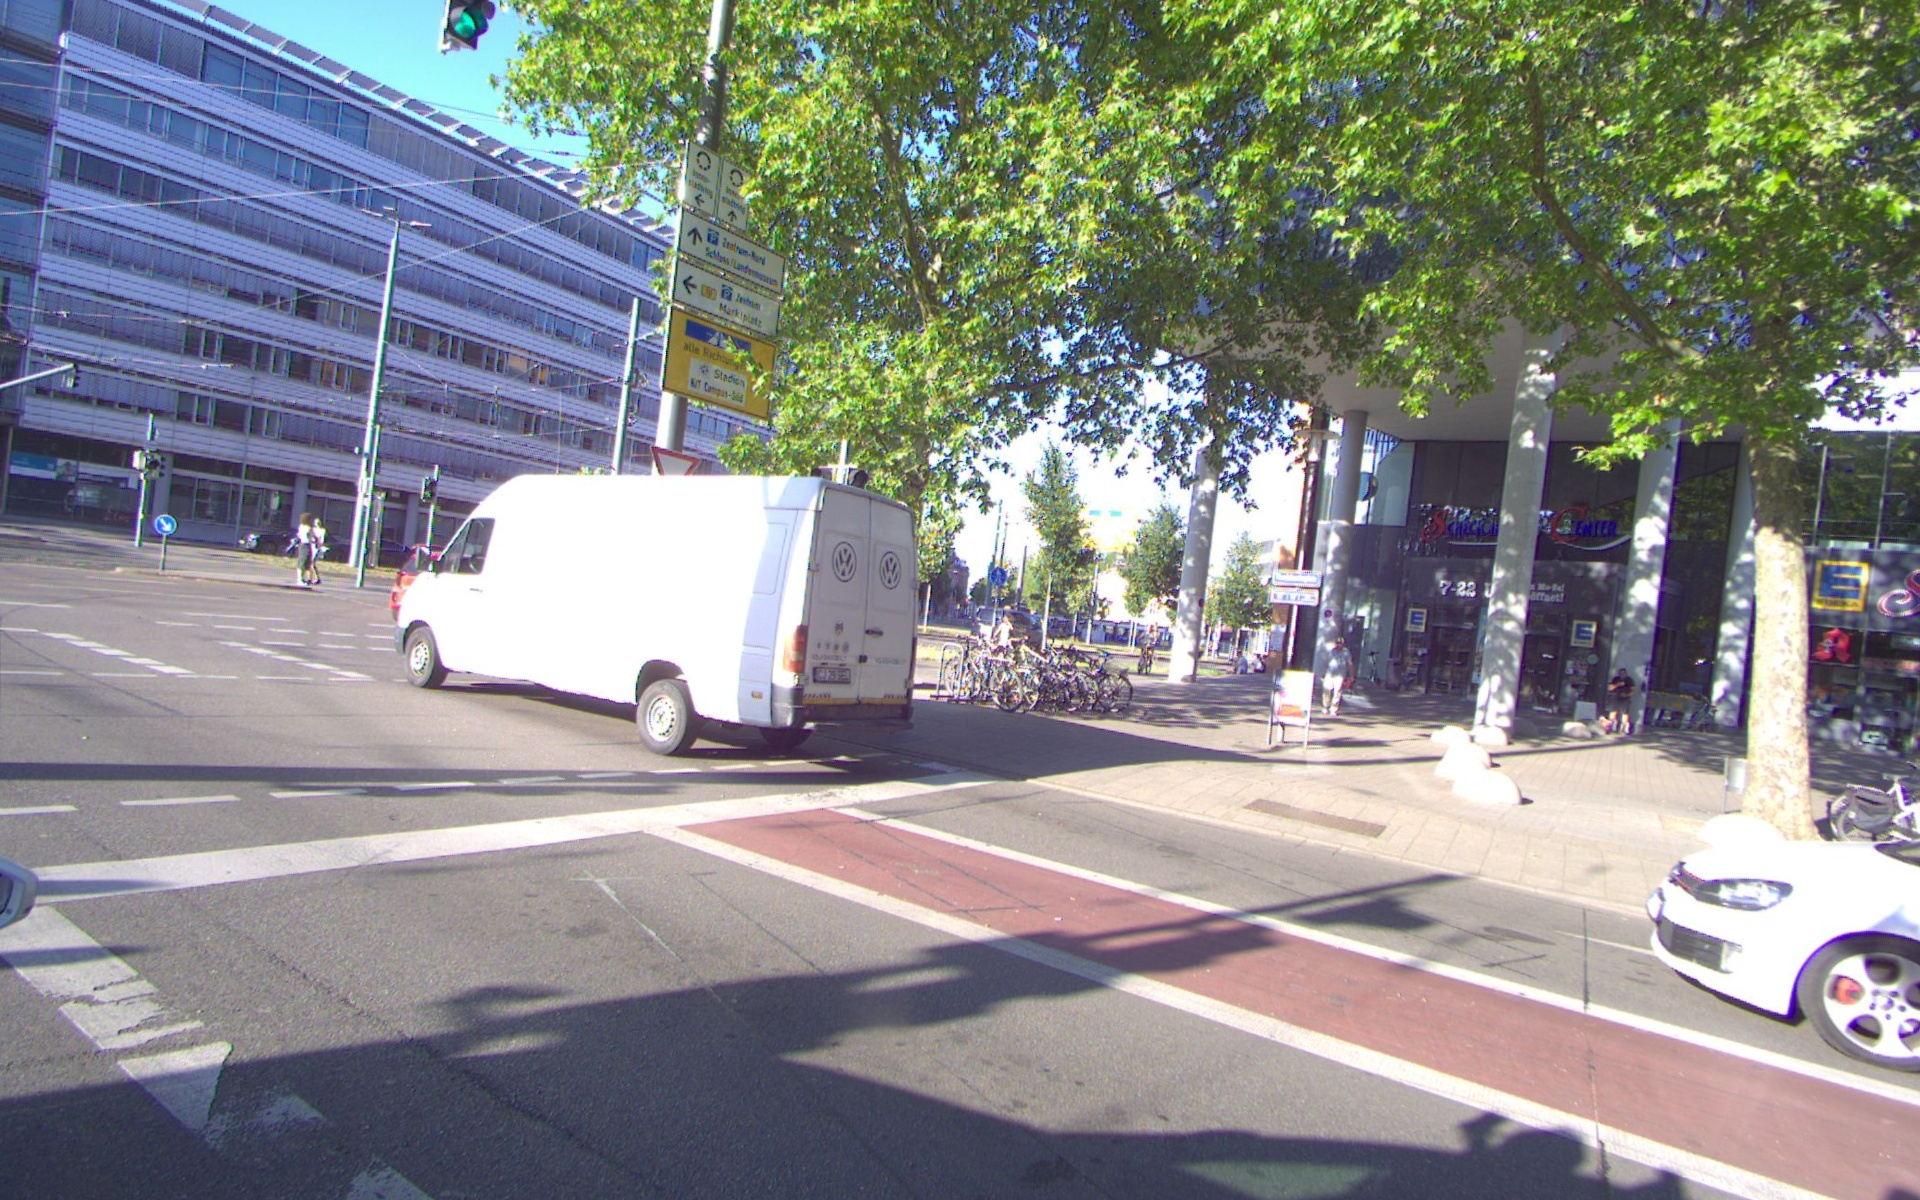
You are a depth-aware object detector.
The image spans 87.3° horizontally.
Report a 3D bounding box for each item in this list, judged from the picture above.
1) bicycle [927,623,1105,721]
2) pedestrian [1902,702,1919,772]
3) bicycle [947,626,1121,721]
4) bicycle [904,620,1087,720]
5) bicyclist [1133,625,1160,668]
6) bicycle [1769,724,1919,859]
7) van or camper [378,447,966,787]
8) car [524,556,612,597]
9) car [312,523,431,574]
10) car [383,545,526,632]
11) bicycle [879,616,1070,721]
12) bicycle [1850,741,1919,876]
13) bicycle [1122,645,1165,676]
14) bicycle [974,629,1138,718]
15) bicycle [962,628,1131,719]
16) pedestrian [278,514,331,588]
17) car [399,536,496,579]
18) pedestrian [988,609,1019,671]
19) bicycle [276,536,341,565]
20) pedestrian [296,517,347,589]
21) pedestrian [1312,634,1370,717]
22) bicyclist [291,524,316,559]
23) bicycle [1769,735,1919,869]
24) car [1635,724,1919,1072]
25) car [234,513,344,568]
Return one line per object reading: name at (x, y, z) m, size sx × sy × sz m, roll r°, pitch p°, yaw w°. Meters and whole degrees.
bicycle at (0.901, 1.188, 16.964) m, size 2.897 × 1.252 × 0.705 m, roll 6°, pitch -1°, yaw 32°
pedestrian at (24.841, 3.545, 25.710) m, size 0.824 × 1.765 × 0.644 m, roll 7°, pitch 1°, yaw 32°
bicycle at (1.256, 1.261, 17.572) m, size 2.896 × 1.252 × 0.705 m, roll 6°, pitch -1°, yaw 31°
bicycle at (0.537, 1.115, 16.349) m, size 2.896 × 1.243 × 0.686 m, roll 6°, pitch -1°, yaw 31°
bicyclist at (6.800, 1.691, 36.737) m, size 0.583 × 1.504 × 0.748 m, roll 6°, pitch 2°, yaw 36°
bicycle at (11.429, 2.390, 11.070) m, size 3.757 × 1.235 × 0.727 m, roll 10°, pitch 1°, yaw 38°
van or camper at (-3.305, -0.044, 10.679) m, size 6.390 × 2.647 × 2.002 m, roll 7°, pitch 0°, yaw 32°
car at (-21.186, -1.264, 54.519) m, size 1.852 × 1.614 × 3.991 m, roll 6°, pitch -2°, yaw 35°
car at (-26.946, -2.321, 46.177) m, size 1.854 × 1.744 × 4.256 m, roll 7°, pitch 0°, yaw 34°
car at (-10.552, -0.203, 21.267) m, size 1.470 × 1.476 × 3.593 m, roll 8°, pitch -1°, yaw -8°
bicycle at (0.187, 1.039, 15.716) m, size 2.896 × 1.252 × 0.705 m, roll 6°, pitch -1°, yaw 31°
bicycle at (10.164, 2.139, 9.481) m, size 2.514 × 1.234 × 0.756 m, roll 5°, pitch -2°, yaw 38°
bicycle at (6.708, 2.197, 36.688) m, size 0.592 × 1.028 × 2.186 m, roll 7°, pitch 2°, yaw 36°
bicycle at (1.765, 1.363, 18.862) m, size 2.896 × 1.250 × 0.698 m, roll 6°, pitch -4°, yaw 31°
bicycle at (1.521, 1.308, 18.133) m, size 2.896 × 1.252 × 0.705 m, roll 6°, pitch -1°, yaw 31°
pedestrian at (-16.790, -1.235, 25.776) m, size 0.666 × 1.781 × 0.742 m, roll 7°, pitch 1°, yaw 7°
car at (-26.319, -2.171, 51.776) m, size 1.769 × 1.569 × 3.990 m, roll 6°, pitch -2°, yaw 36°
pedestrian at (1.205, 1.097, 27.749) m, size 0.523 × 1.644 × 0.543 m, roll 7°, pitch 1°, yaw 19°
bicycle at (-30.093, -2.277, 46.509) m, size 0.627 × 1.035 × 2.410 m, roll 7°, pitch 0°, yaw 36°
pedestrian at (-16.906, -1.241, 26.643) m, size 0.672 × 1.781 × 0.742 m, roll 7°, pitch 1°, yaw 16°
pedestrian at (9.351, 1.851, 24.729) m, size 0.800 × 1.913 × 0.871 m, roll 5°, pitch 1°, yaw -16°
bicyclist at (-30.202, -2.698, 46.278) m, size 0.604 × 1.521 × 0.663 m, roll 7°, pitch 1°, yaw 37°
bicycle at (10.882, 2.291, 10.435) m, size 3.759 × 1.234 × 0.756 m, roll 5°, pitch -2°, yaw 38°
car at (5.762, 1.651, 4.882) m, size 3.921 × 1.445 × 1.638 m, roll 7°, pitch -1°, yaw 32°
car at (-33.473, -2.939, 50.284) m, size 1.967 × 2.037 × 3.995 m, roll 6°, pitch -2°, yaw 32°
